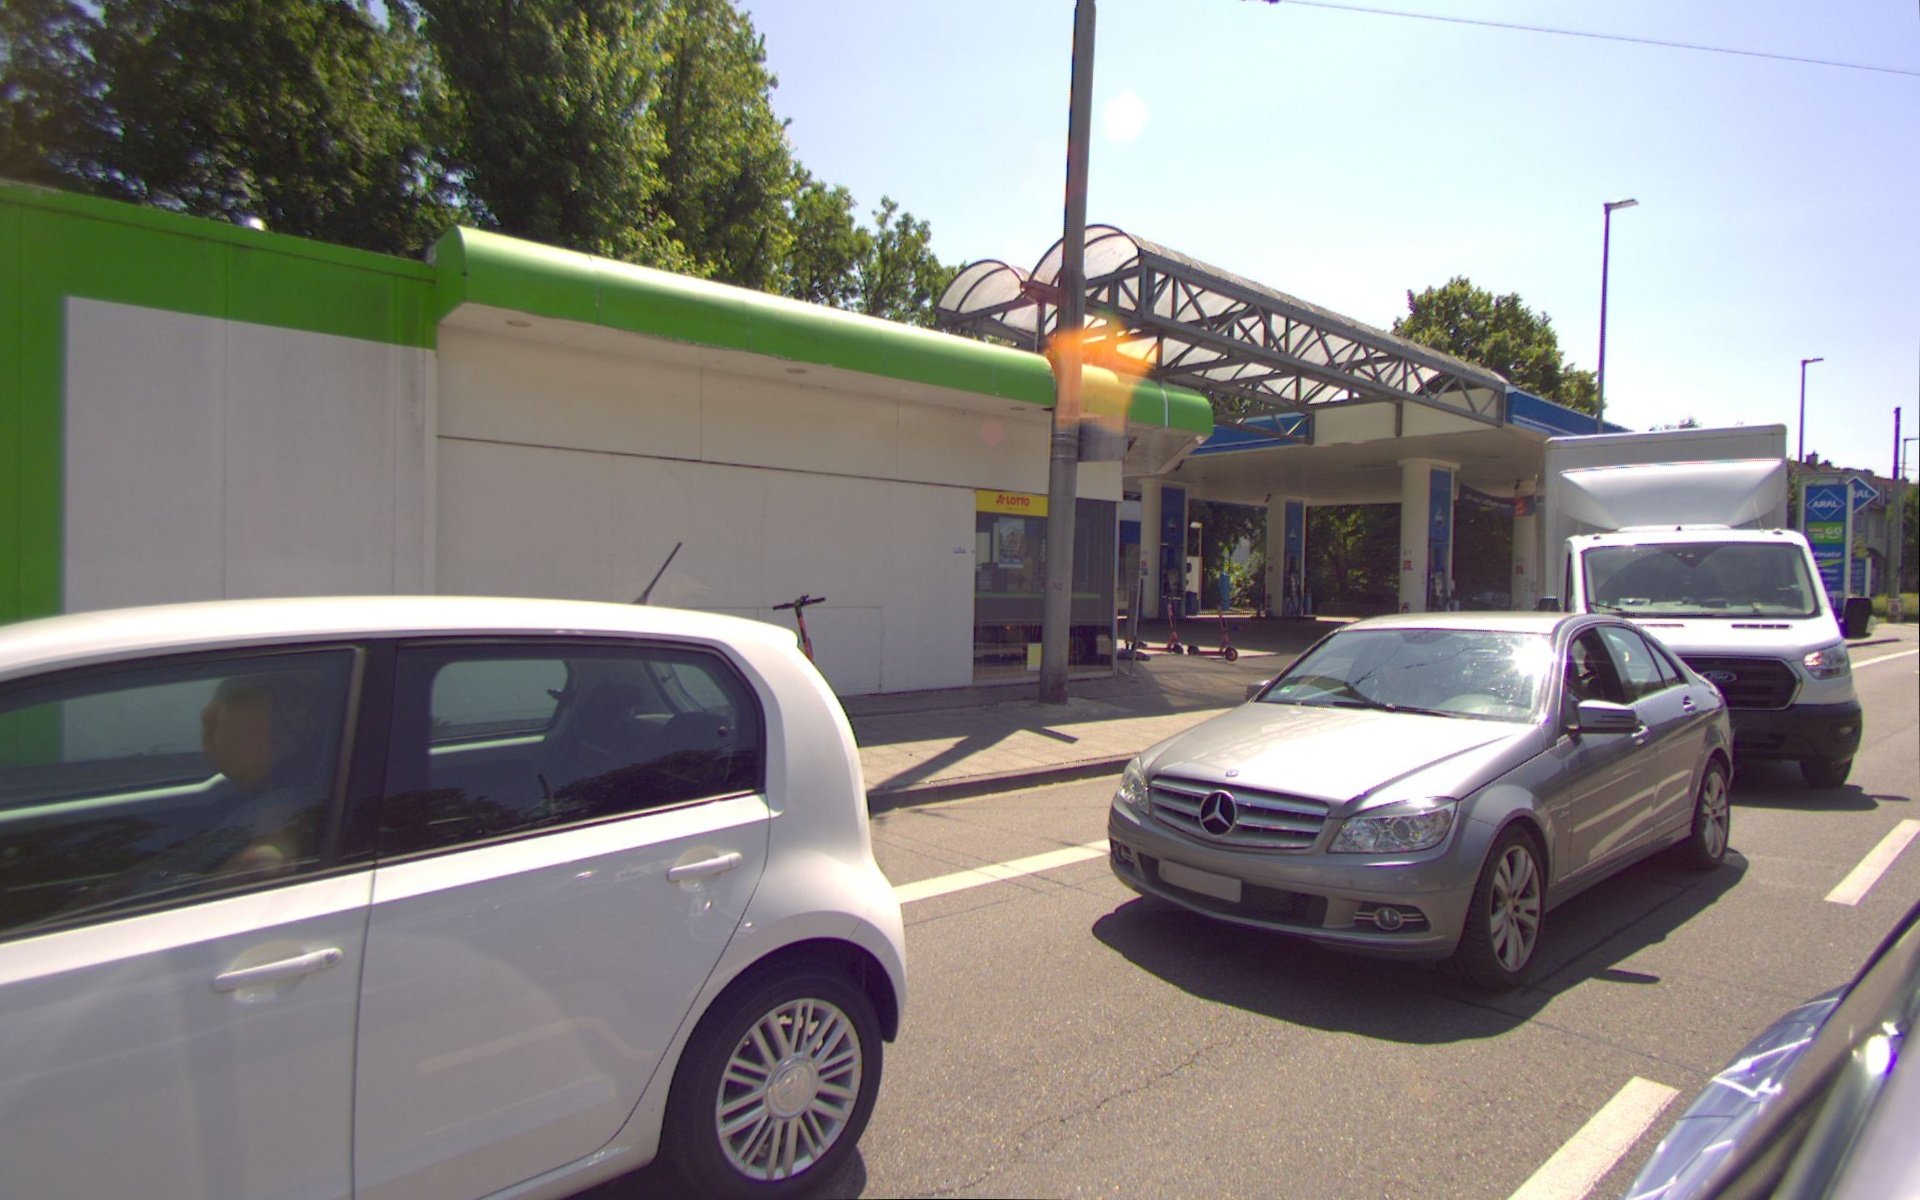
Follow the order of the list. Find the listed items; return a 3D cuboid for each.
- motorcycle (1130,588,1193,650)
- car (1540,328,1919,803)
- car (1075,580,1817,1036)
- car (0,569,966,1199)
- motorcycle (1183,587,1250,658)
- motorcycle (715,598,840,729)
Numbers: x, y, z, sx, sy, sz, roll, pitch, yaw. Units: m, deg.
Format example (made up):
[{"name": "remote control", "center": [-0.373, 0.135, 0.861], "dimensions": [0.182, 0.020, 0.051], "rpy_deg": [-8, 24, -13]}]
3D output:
[{"name": "motorcycle", "center": [3.945, 0.368, 19.903], "dimensions": [0.389, 1.127, 1.156], "rpy_deg": [2, 2, -41]}, {"name": "car", "center": [7.929, -0.264, 11.480], "dimensions": [2.211, 3.378, 8.546], "rpy_deg": [-1, 0, 29]}, {"name": "car", "center": [3.073, 0.698, 5.650], "dimensions": [5.206, 1.492, 1.716], "rpy_deg": [0, -1, -40]}, {"name": "car", "center": [-1.785, 0.684, 2.291], "dimensions": [3.374, 1.466, 1.612], "rpy_deg": [1, 0, -40]}, {"name": "motorcycle", "center": [4.792, 0.409, 18.975], "dimensions": [0.357, 1.225, 1.156], "rpy_deg": [2, 2, -41]}, {"name": "motorcycle", "center": [-1.664, 0.560, 9.314], "dimensions": [1.098, 1.118, 0.253], "rpy_deg": [-1, 7, -40]}]
